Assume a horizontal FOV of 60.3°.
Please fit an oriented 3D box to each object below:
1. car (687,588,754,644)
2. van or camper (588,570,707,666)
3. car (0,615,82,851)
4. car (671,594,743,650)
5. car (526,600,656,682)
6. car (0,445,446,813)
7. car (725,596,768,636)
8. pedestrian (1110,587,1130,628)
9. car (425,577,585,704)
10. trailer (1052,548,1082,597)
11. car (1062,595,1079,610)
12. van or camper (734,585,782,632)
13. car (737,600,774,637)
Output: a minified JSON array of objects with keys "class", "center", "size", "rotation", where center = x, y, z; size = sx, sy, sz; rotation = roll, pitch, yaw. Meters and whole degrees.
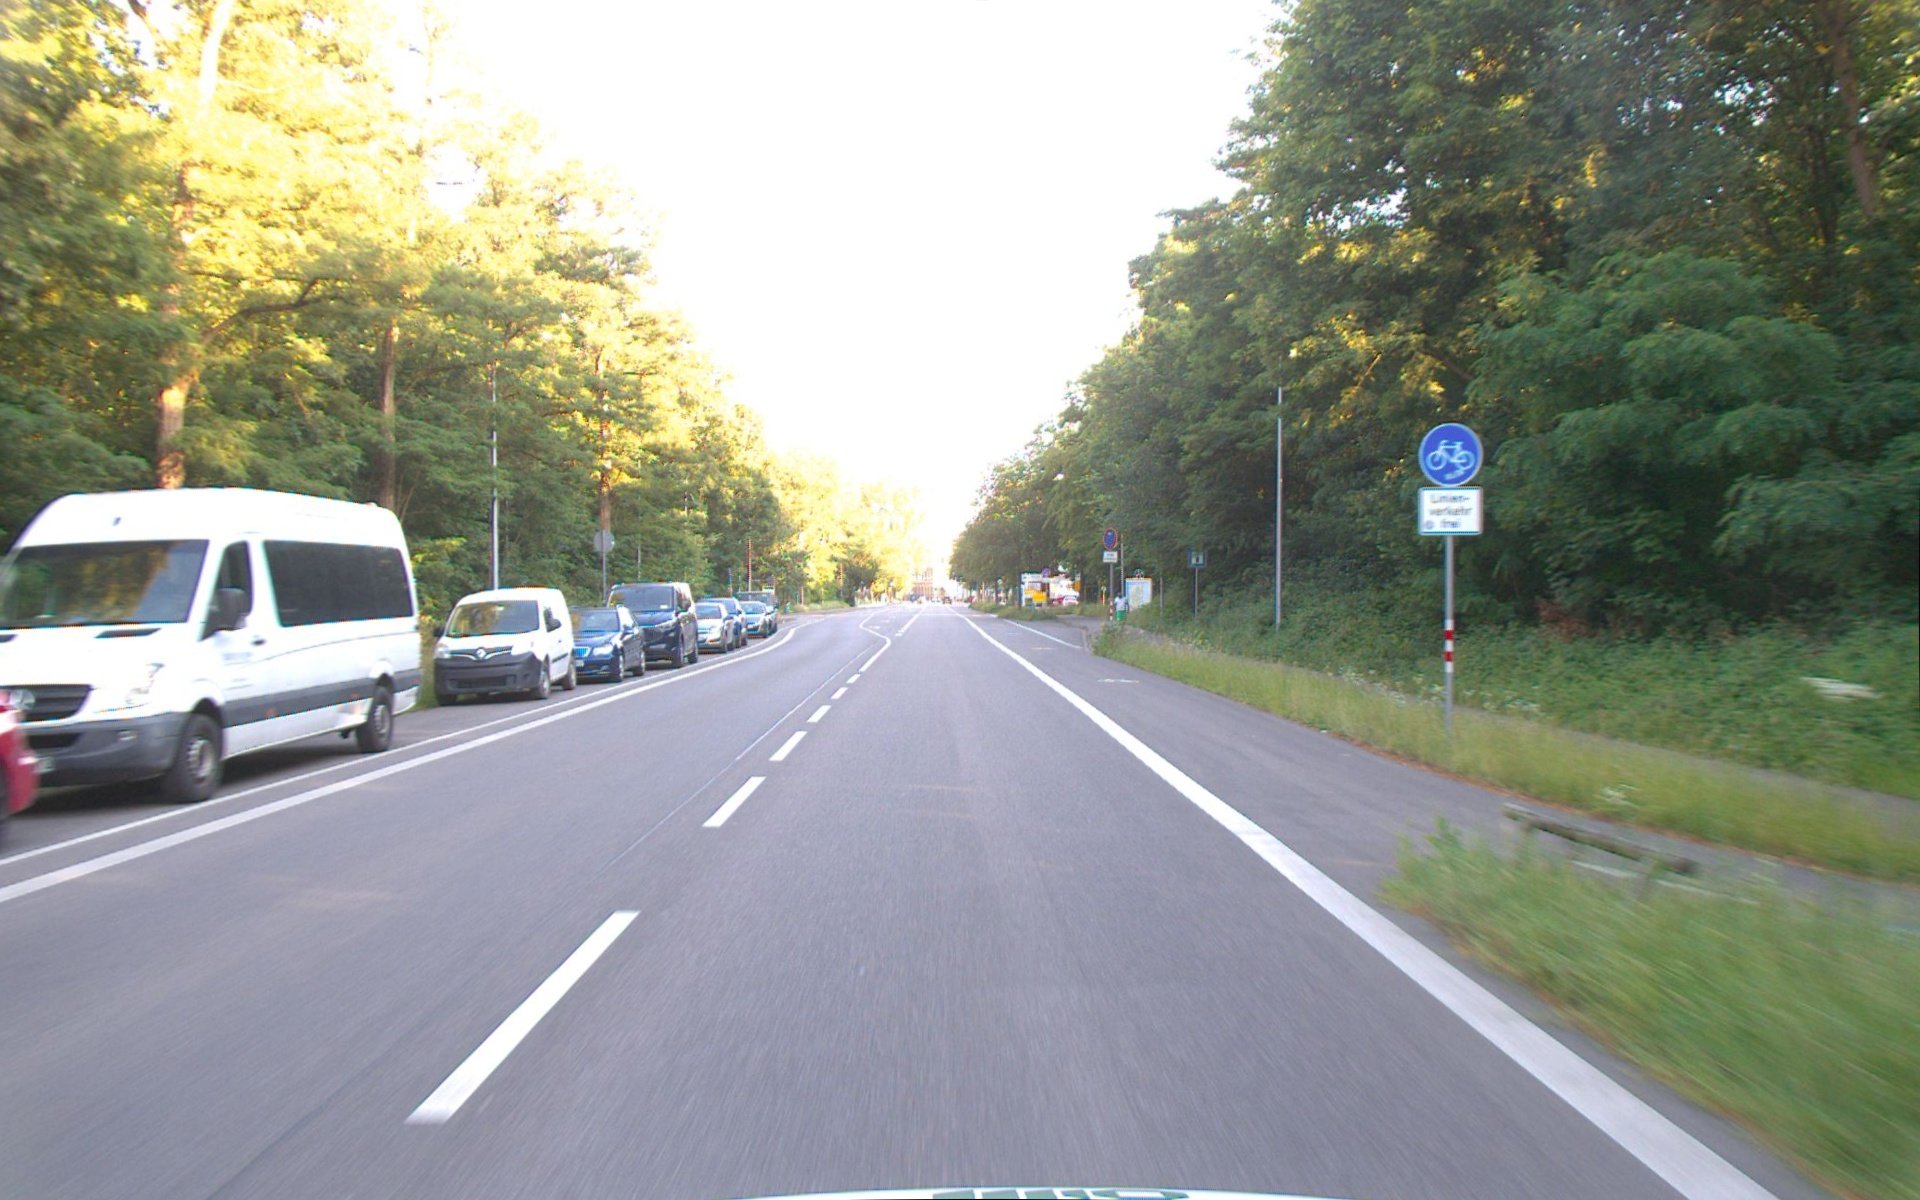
[{"class":"car","center":[-7.895,0.508,54.879],"size":[1.710,1.742,4.520],"rotation":[-2,0,-3]},{"class":"van or camper","center":[-7.381,0.393,39.630],"size":[1.962,2.053,5.458],"rotation":[-3,0,-3]},{"class":"car","center":[-6.847,0.860,9.063],"size":[1.681,1.455,4.388],"rotation":[-1,0,0]},{"class":"car","center":[-7.531,0.628,49.470],"size":[1.635,1.527,4.244],"rotation":[-2,0,-3]},{"class":"car","center":[-7.304,0.760,33.111],"size":[1.636,1.458,4.446],"rotation":[-2,0,-1]},{"class":"car","center":[-7.025,0.223,15.762],"size":[2.037,2.651,7.087],"rotation":[-3,0,-1]},{"class":"car","center":[-8.738,0.646,68.035],"size":[1.585,1.561,4.035],"rotation":[-2,0,-6]},{"class":"pedestrian","center":[7.104,0.339,73.325],"size":[0.821,1.782,0.726],"rotation":[0,0,0]},{"class":"car","center":[-7.553,0.621,27.839],"size":[1.654,1.890,4.384],"rotation":[-3,0,-4]},{"class":"trailer","center":[12.506,-3.146,193.658],"size":[2.958,5.557,7.934],"rotation":[0,0,0]},{"class":"car","center":[12.057,0.242,181.079],"size":[1.733,1.611,4.821],"rotation":[1,0,3]},{"class":"van or camper","center":[-9.701,0.378,79.842],"size":[1.992,2.130,5.009],"rotation":[-2,0,-5]},{"class":"car","center":[-8.998,0.798,72.844],"size":[1.513,1.519,3.966],"rotation":[-2,0,-7]}]
